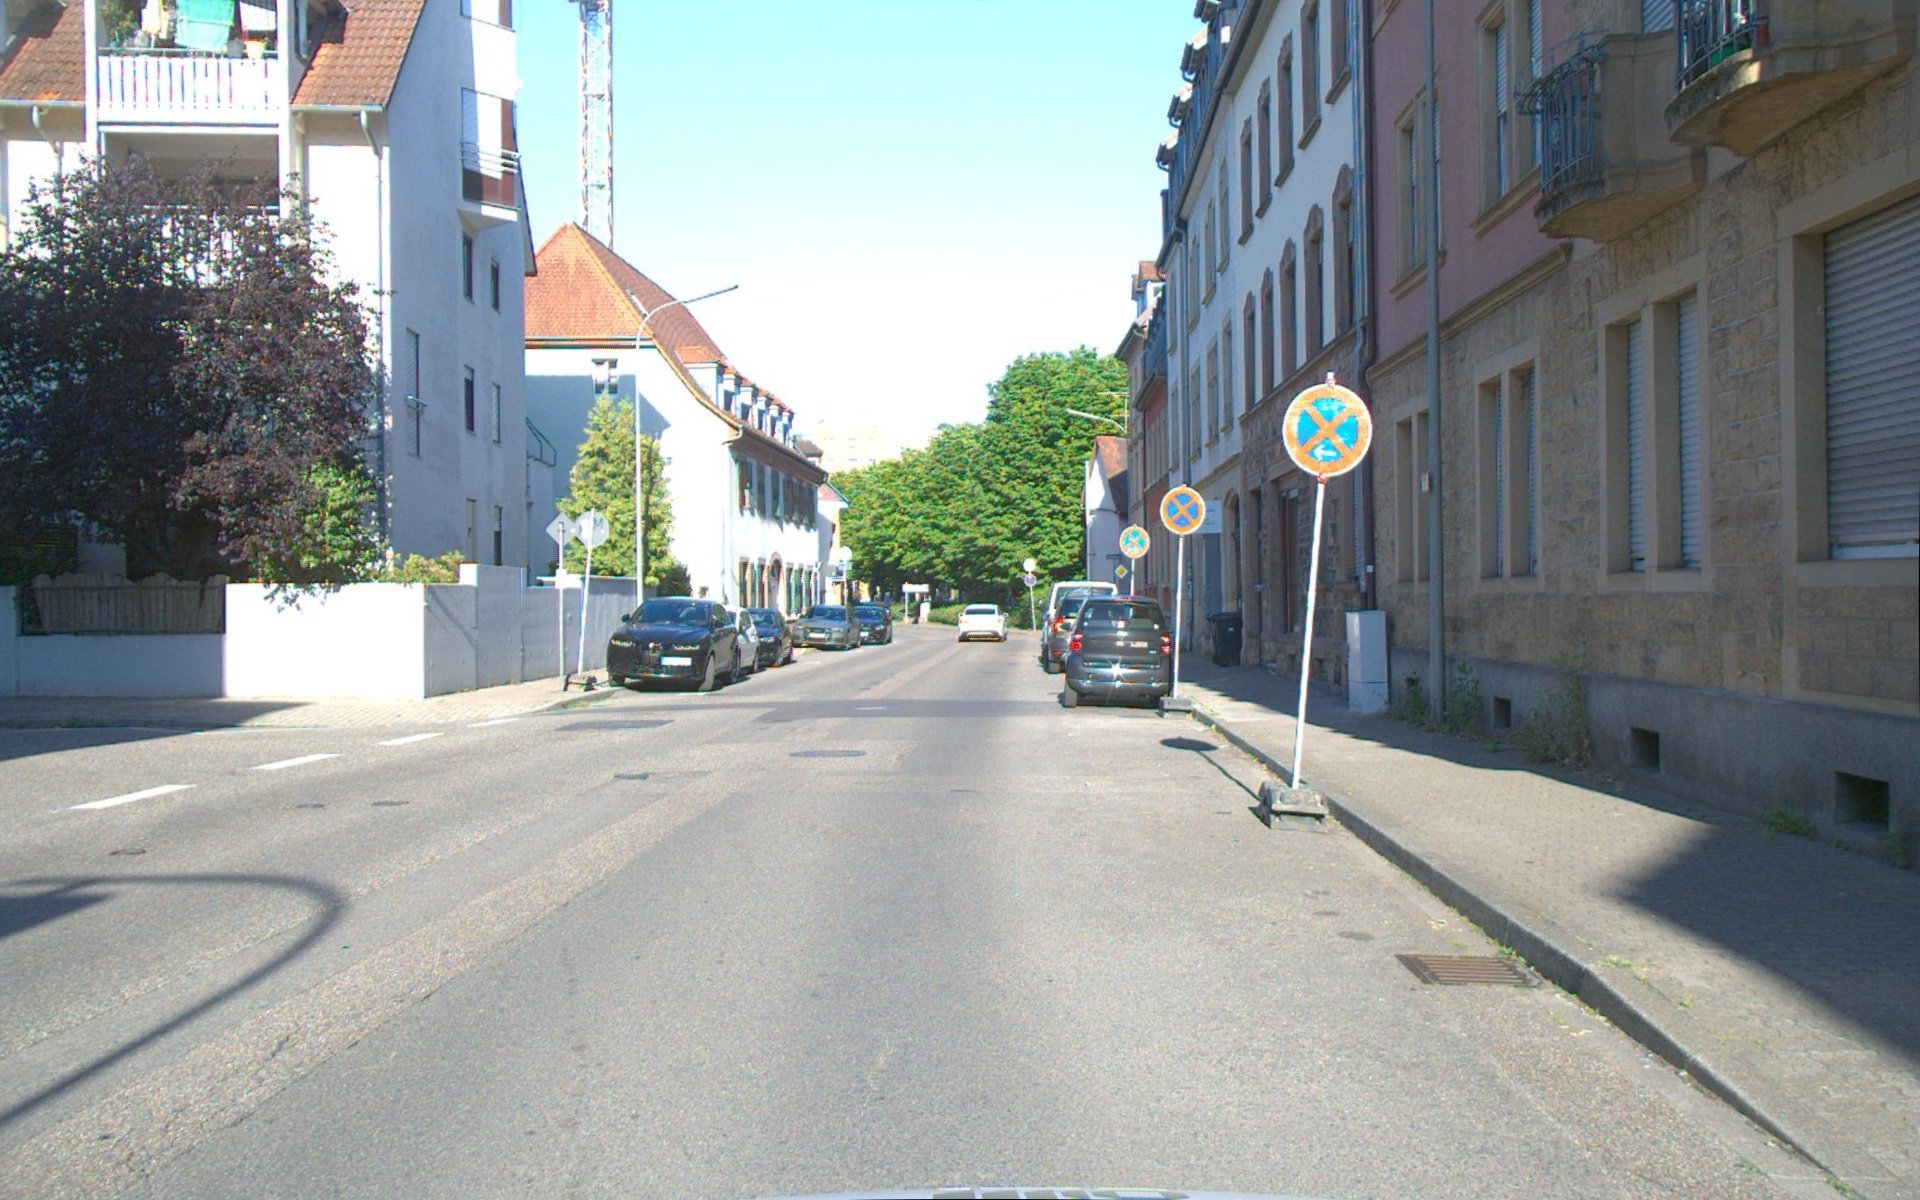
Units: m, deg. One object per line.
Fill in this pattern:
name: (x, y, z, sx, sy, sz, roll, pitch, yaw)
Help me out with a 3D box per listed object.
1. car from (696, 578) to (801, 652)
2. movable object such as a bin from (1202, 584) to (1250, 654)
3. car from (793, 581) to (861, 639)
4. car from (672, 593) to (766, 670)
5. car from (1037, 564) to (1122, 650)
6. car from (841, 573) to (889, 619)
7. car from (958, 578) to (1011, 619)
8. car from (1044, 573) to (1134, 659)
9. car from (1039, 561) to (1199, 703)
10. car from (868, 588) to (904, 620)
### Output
car: (-5.276, 0.338, 41.733, 2.049, 1.659, 3.822, -2, 1, 0)
movable object such as a bin: (5.615, 0.394, 34.936, 0.853, 1.401, 0.685, -2, 1, 0)
car: (-4.467, 0.310, 56.074, 1.871, 1.790, 4.129, -2, 1, 1)
car: (-5.190, 0.647, 35.948, 1.521, 1.483, 3.061, -2, 1, 1)
car: (2.879, 0.125, 40.552, 1.803, 1.939, 4.001, -2, 1, 1)
car: (-3.704, -0.183, 64.919, 1.597, 1.659, 3.175, -2, 1, 1)
car: (0.916, -0.075, 64.082, 1.953, 1.492, 4.000, -1, 1, -1)
car: (2.786, 0.302, 35.881, 1.780, 1.659, 4.003, -2, 1, 4)
car: (2.233, 0.386, 24.274, 1.969, 1.885, 4.001, 1, 1, 0)
car: (-4.945, 0.262, 110.091, 1.956, 2.049, 3.992, -1, 1, -9)
